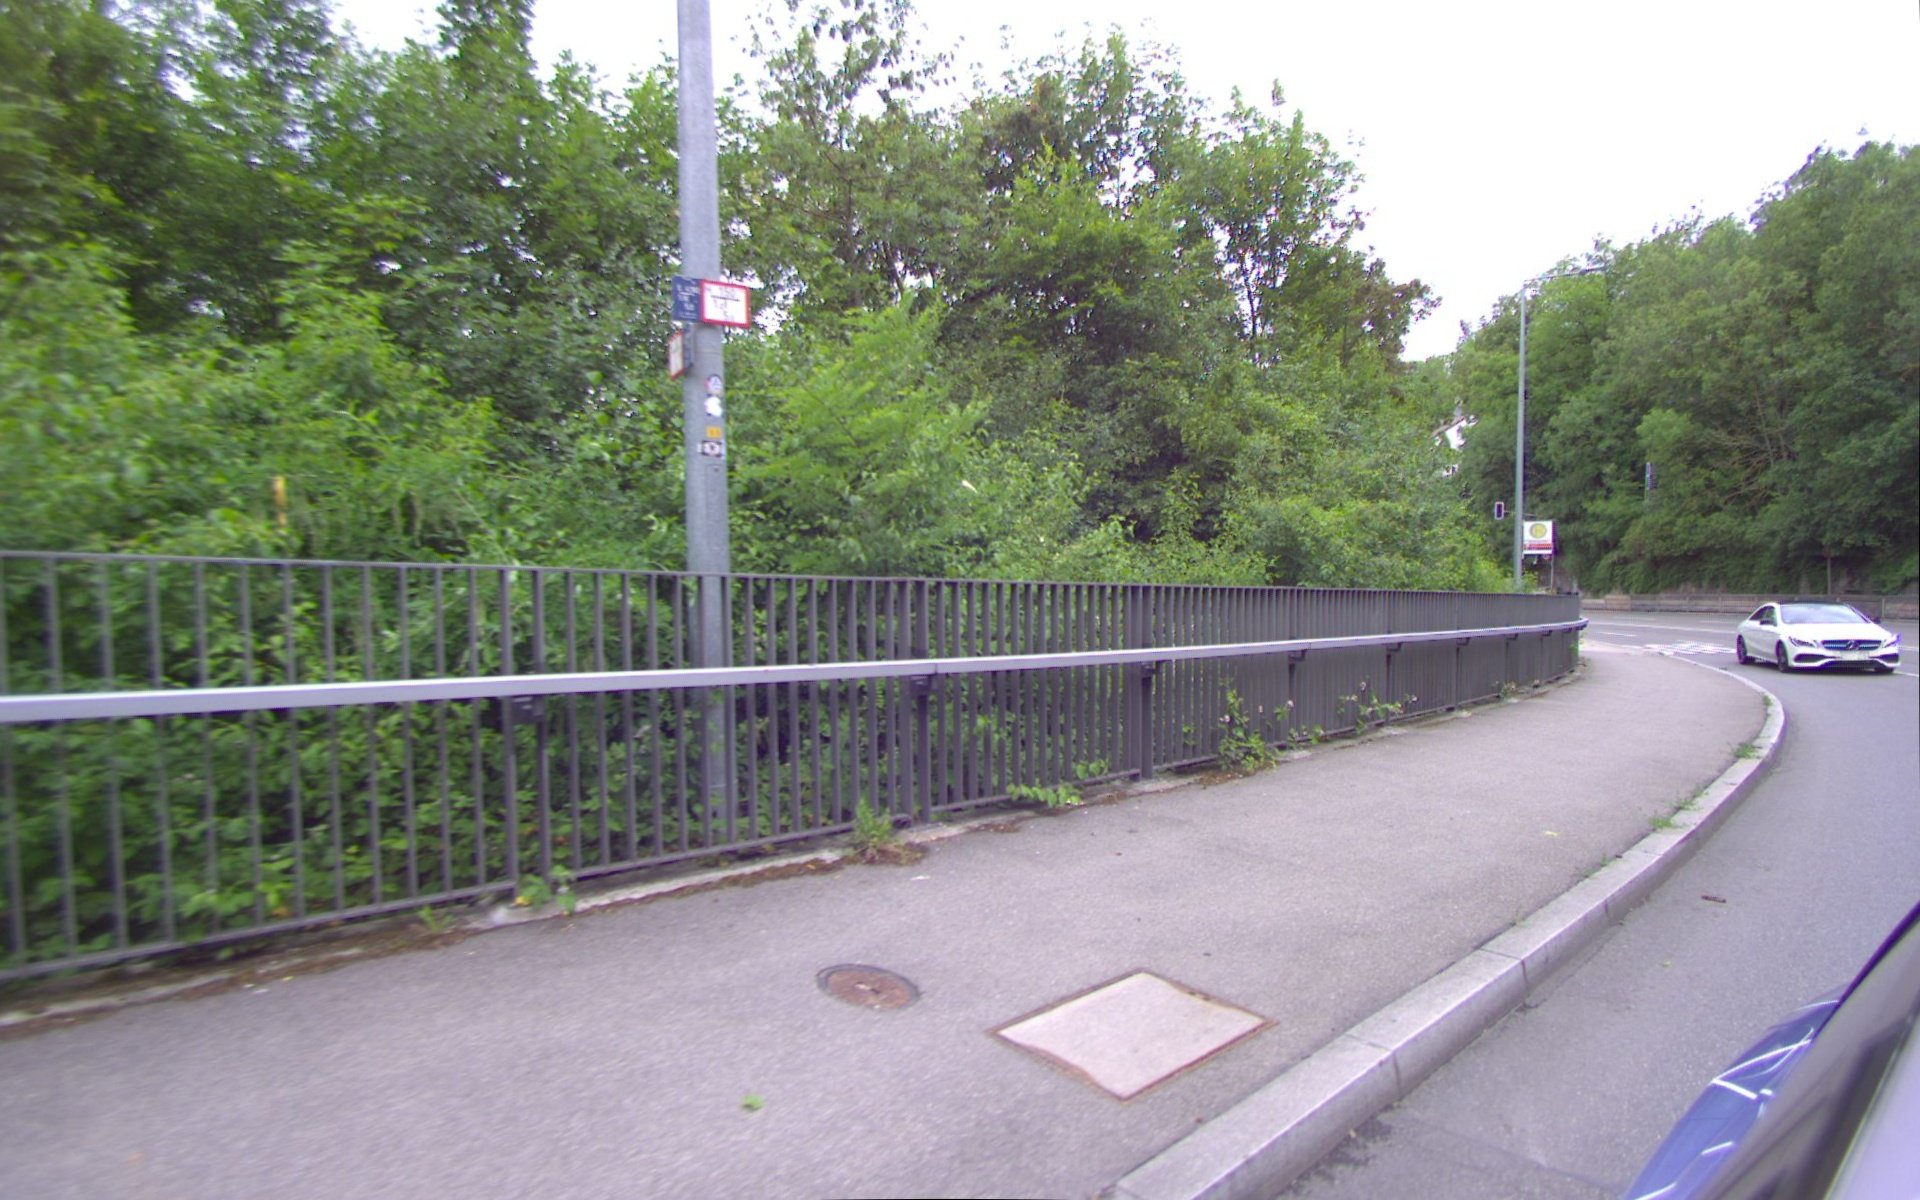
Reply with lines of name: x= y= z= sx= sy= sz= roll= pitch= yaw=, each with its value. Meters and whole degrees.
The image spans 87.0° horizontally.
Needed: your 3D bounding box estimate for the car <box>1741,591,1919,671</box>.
car: x=18.067 y=0.590 z=21.197 sx=1.886 sy=1.445 sz=4.225 roll=-3 pitch=-1 yaw=27
